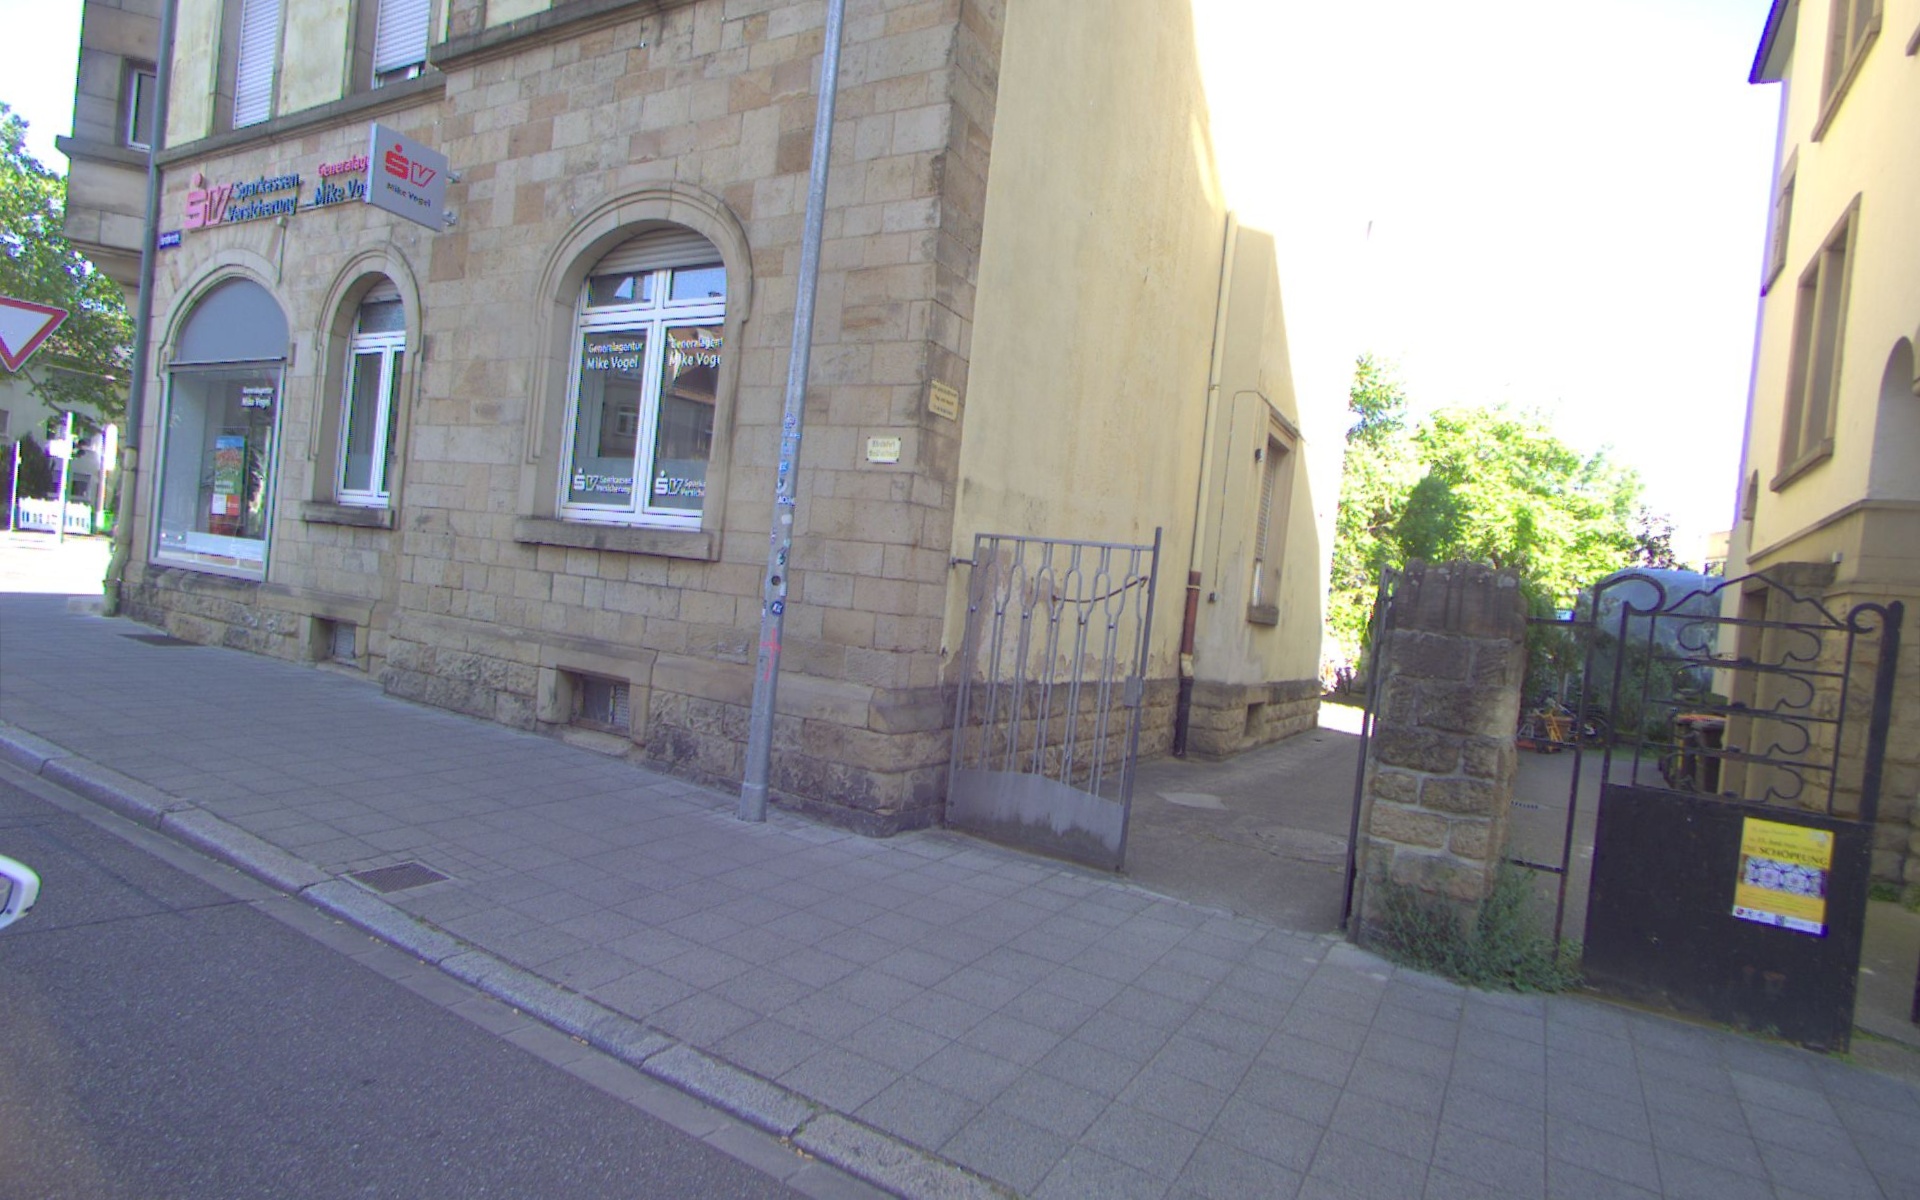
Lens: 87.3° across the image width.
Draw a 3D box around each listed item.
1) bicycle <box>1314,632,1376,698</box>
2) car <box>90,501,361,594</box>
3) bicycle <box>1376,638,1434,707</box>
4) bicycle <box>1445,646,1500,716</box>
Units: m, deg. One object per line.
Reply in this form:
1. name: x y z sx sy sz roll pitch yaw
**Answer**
1. bicycle: 9.968 1.644 25.978 0.904 1.532 2.667 6 2 31
2. car: -16.534 -1.124 22.911 1.702 1.474 4.621 7 0 33
3. bicycle: 11.201 1.779 25.261 0.904 1.532 2.667 6 2 31
4. bicycle: 12.586 1.939 24.648 0.904 1.532 2.667 6 2 31
